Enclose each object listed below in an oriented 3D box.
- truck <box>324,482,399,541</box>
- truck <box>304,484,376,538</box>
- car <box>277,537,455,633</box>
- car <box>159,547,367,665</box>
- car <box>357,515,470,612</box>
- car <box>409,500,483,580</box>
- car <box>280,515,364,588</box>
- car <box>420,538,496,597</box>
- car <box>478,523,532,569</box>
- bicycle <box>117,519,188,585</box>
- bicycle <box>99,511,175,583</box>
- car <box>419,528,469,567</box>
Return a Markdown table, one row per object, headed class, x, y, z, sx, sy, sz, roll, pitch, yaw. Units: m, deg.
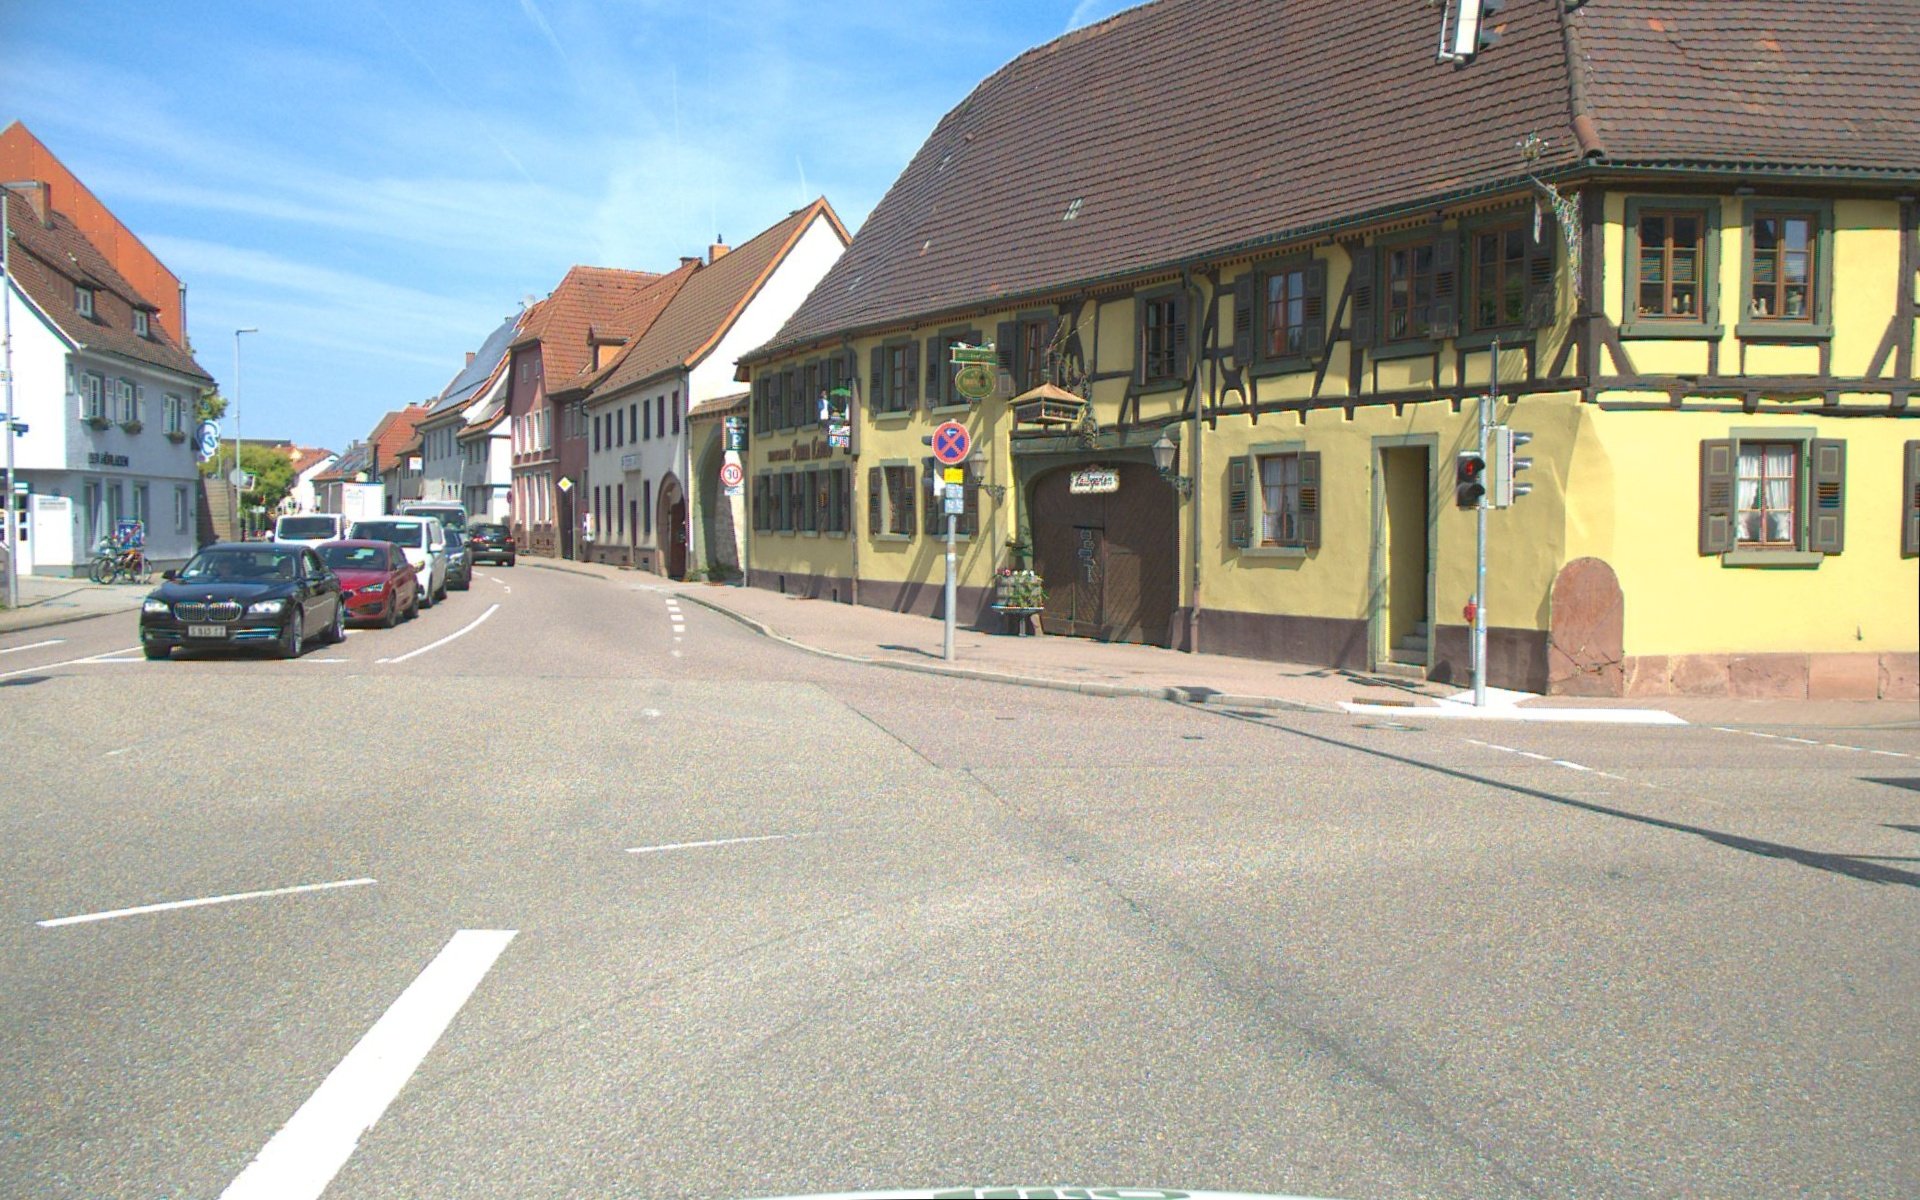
| class | x | y | z | sx | sy | sz | roll | pitch | yaw |
| --- | --- | --- | --- | --- | --- | --- | --- | --- | --- |
| truck | -39.331 | -5.763 | 108.506 | 3.187 | 3.610 | 9.145 | 2 | 1 | -29 |
| truck | -44.046 | -6.213 | 117.188 | 3.125 | 3.520 | 10.608 | 2 | 1 | -29 |
| car | -10.609 | -0.333 | 29.908 | 2.119 | 1.541 | 4.938 | 1 | 2 | -9 |
| car | -9.508 | 0.014 | 22.899 | 1.788 | 1.459 | 4.238 | 0 | 2 | -11 |
| car | -11.766 | -0.845 | 35.870 | 1.789 | 1.939 | 4.950 | 0 | 2 | -12 |
| car | -15.784 | -1.835 | 50.661 | 1.733 | 2.285 | 4.523 | 2 | 1 | -22 |
| car | -18.382 | -1.419 | 47.825 | 2.105 | 2.001 | 5.248 | -1 | 2 | -20 |
| car | -13.099 | -0.859 | 43.089 | 1.553 | 1.408 | 3.536 | 2 | 1 | -22 |
| car | -18.195 | -2.162 | 66.059 | 1.794 | 1.769 | 3.983 | -1 | 2 | -20 |
| bicycle | -20.771 | -1.226 | 42.622 | 0.546 | 1.635 | 2.562 | 2 | 1 | -1 |
| bicycle | -21.572 | -1.371 | 43.413 | 0.628 | 1.810 | 2.670 | 2 | 1 | -1 |
| car | -21.122 | -2.161 | 67.603 | 1.759 | 1.552 | 3.983 | -1 | 2 | -20 |
